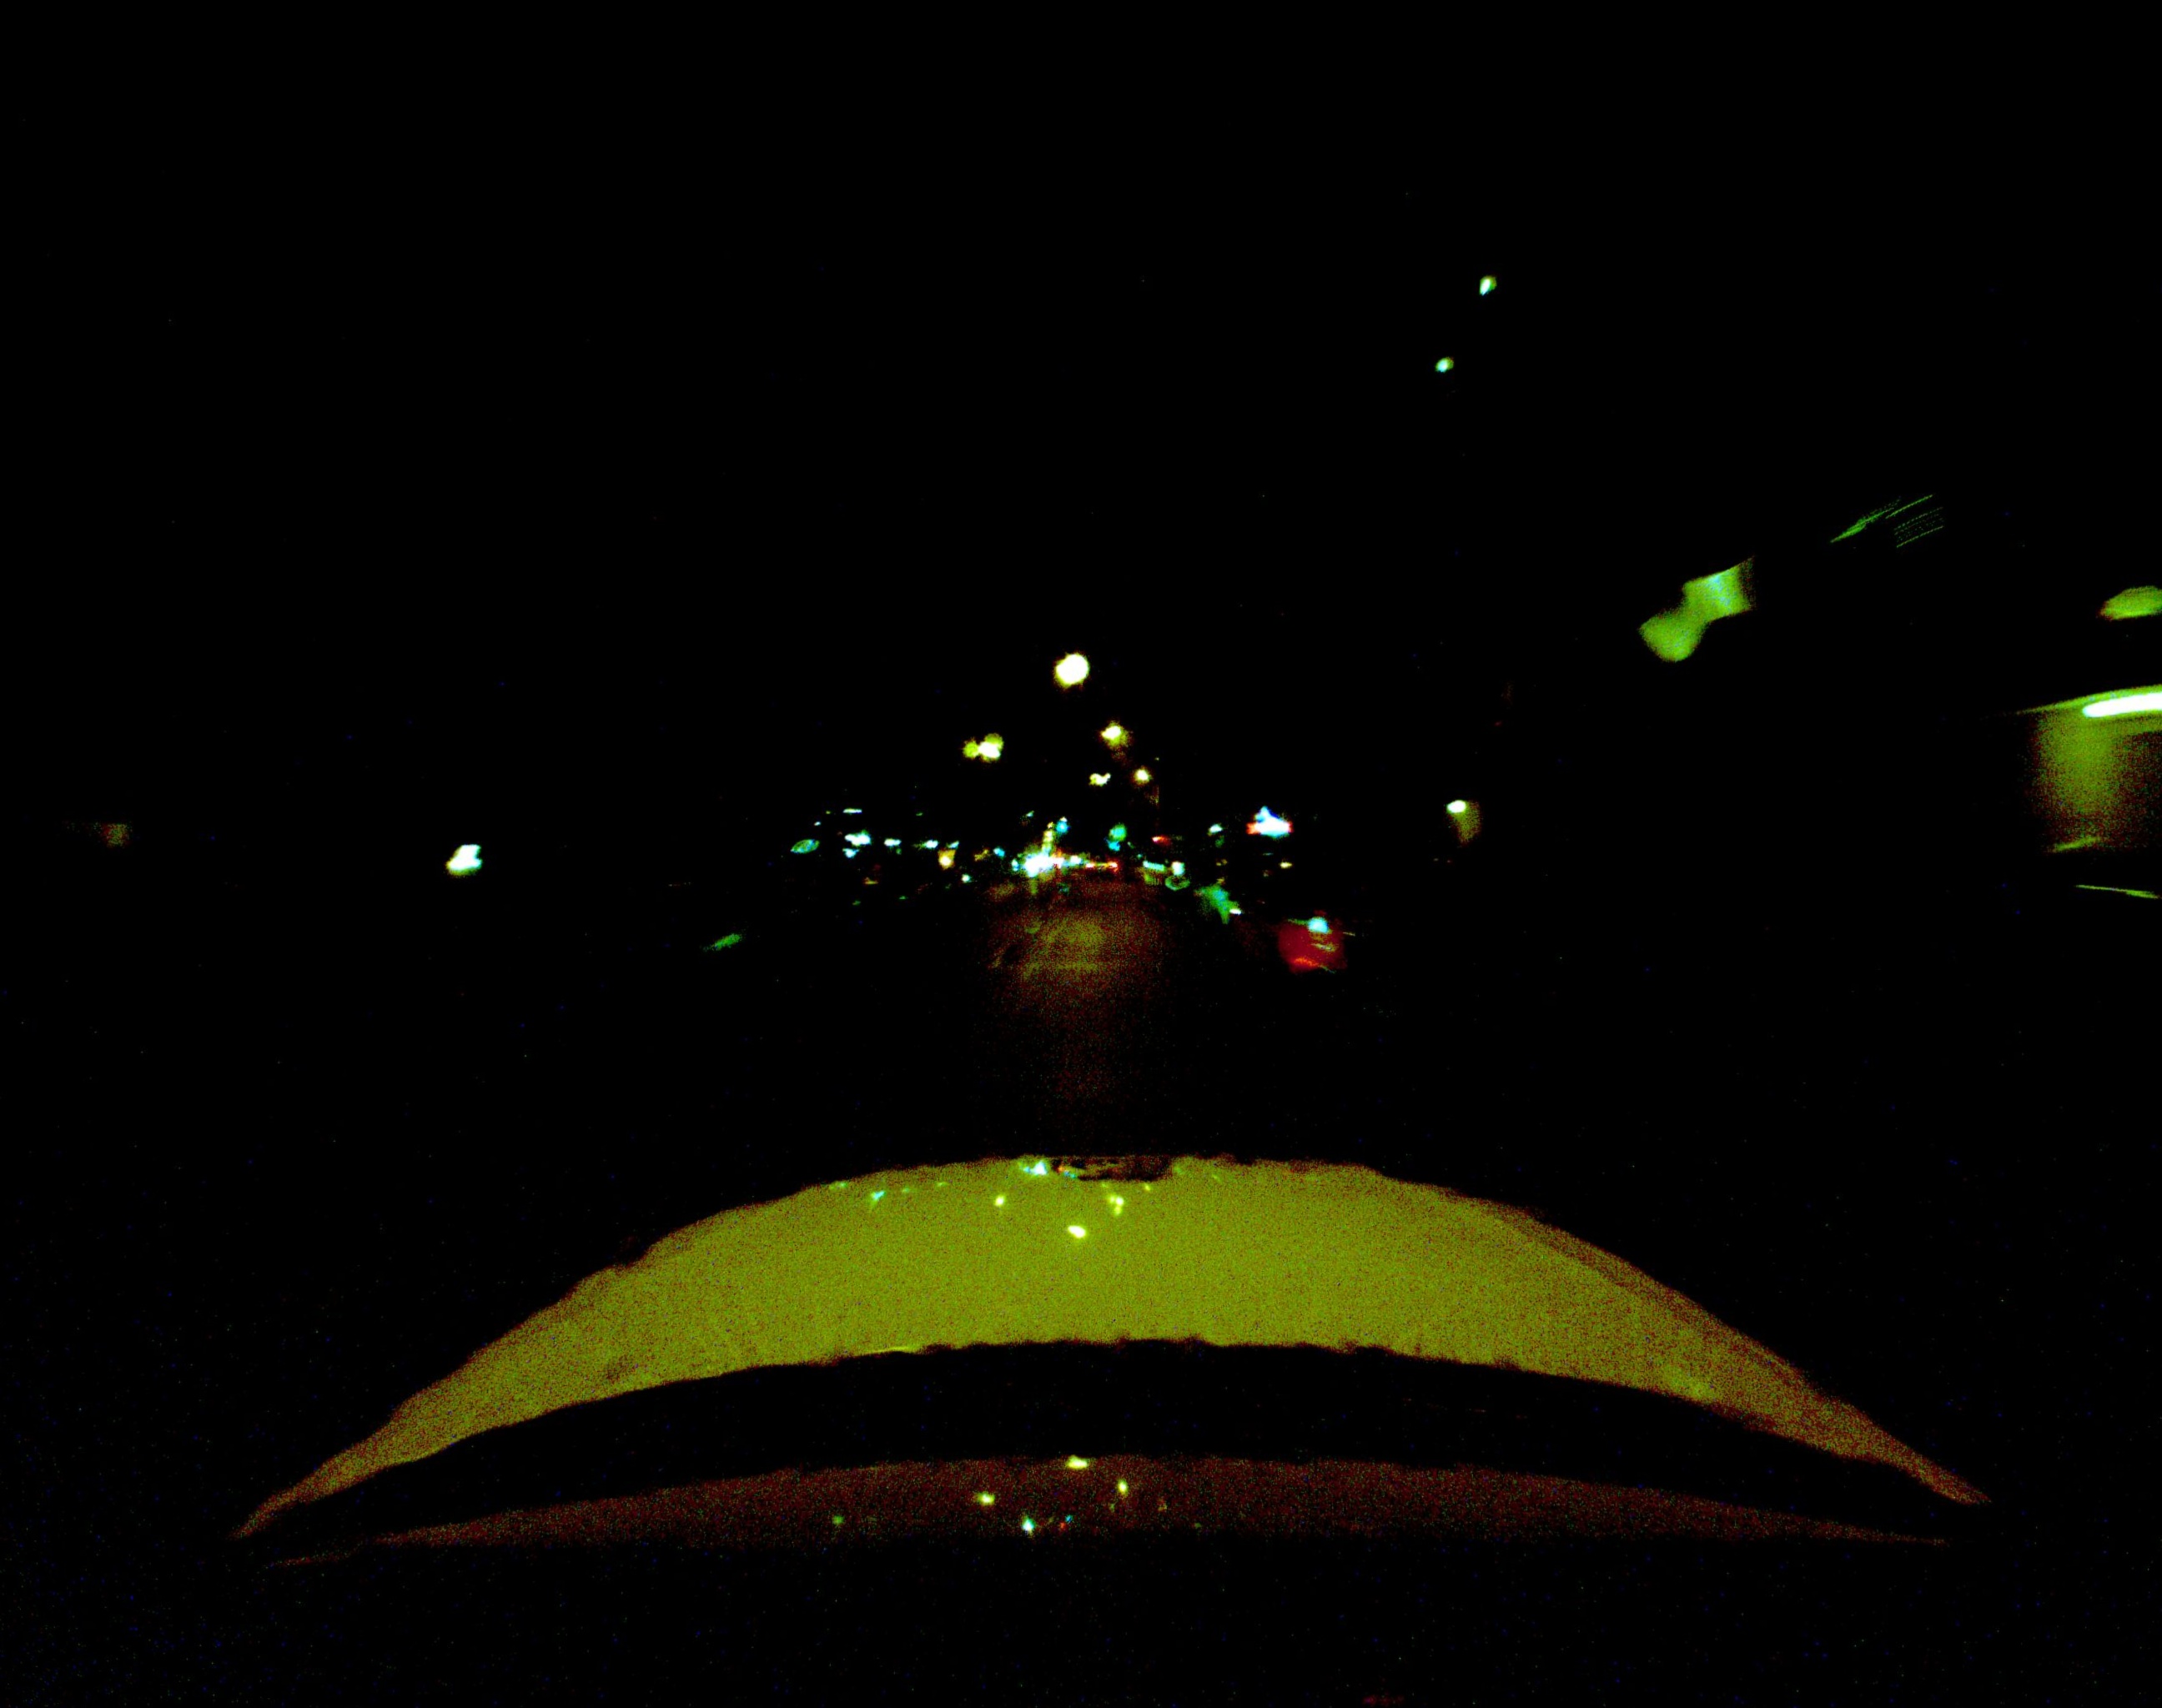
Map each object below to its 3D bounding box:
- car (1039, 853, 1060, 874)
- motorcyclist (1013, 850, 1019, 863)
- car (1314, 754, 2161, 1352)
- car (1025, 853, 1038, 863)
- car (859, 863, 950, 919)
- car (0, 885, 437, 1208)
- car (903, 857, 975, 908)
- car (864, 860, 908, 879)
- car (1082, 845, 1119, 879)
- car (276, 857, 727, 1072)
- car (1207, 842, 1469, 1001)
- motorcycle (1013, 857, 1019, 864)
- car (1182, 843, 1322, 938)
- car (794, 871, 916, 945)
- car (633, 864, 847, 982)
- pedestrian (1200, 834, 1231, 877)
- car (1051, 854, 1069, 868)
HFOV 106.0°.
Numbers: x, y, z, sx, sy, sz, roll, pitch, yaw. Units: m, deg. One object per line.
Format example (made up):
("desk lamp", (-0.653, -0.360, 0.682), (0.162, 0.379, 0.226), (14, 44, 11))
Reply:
("car", (-3.336, 1.003, 86.043), (2.029, 1.953, 5.195), (-5, 1, -2))
("motorcyclist", (-10.401, 0.369, 129.949), (0.690, 2.013, 0.983), (-3, 0, 2))
("car", (2.884, 0.551, 4.591), (1.816, 1.637, 4.488), (-4, 0, 1))
("car", (-8.076, 0.663, 133.090), (1.849, 1.499, 4.761), (-3, 1, -5))
("car", (-5.339, 1.064, 25.178), (1.592, 1.373, 4.355), (-6, 0, 2))
("car", (-5.935, 1.030, 4.409), (1.593, 1.431, 4.004), (-6, 0, 0))
("car", (-5.123, 0.984, 29.947), (1.592, 1.564, 4.381), (-6, 0, 2))
("car", (-16.782, 1.342, 70.154), (1.699, 1.431, 3.939), (-3, 0, 20))
("car", (1.246, 0.478, 52.733), (2.160, 1.972, 4.303), (-4, 0, 1))
("car", (-5.700, 0.917, 8.828), (1.592, 1.605, 4.260), (-6, 0, 2))
("car", (2.831, 0.651, 10.127), (1.816, 1.422, 4.488), (-4, 0, 1))
("motorcycle", (-10.372, 1.026, 130.046), (0.698, 1.138, 2.177), (-3, 0, 3))
("car", (3.282, 0.635, 16.584), (1.816, 1.530, 4.783), (-4, 0, 1))
("car", (-5.372, 1.220, 19.872), (1.592, 1.373, 4.069), (-6, 0, 2))
("car", (-5.529, 1.018, 13.875), (1.592, 1.486, 4.276), (-6, 0, 2))
("pedestrian", (5.124, 0.057, 31.126), (1.044, 1.575, 1.020), (-2, 0, 6))
("car", (-2.539, 0.789, 96.740), (1.815, 1.542, 4.718), (-3, 0, -5))
